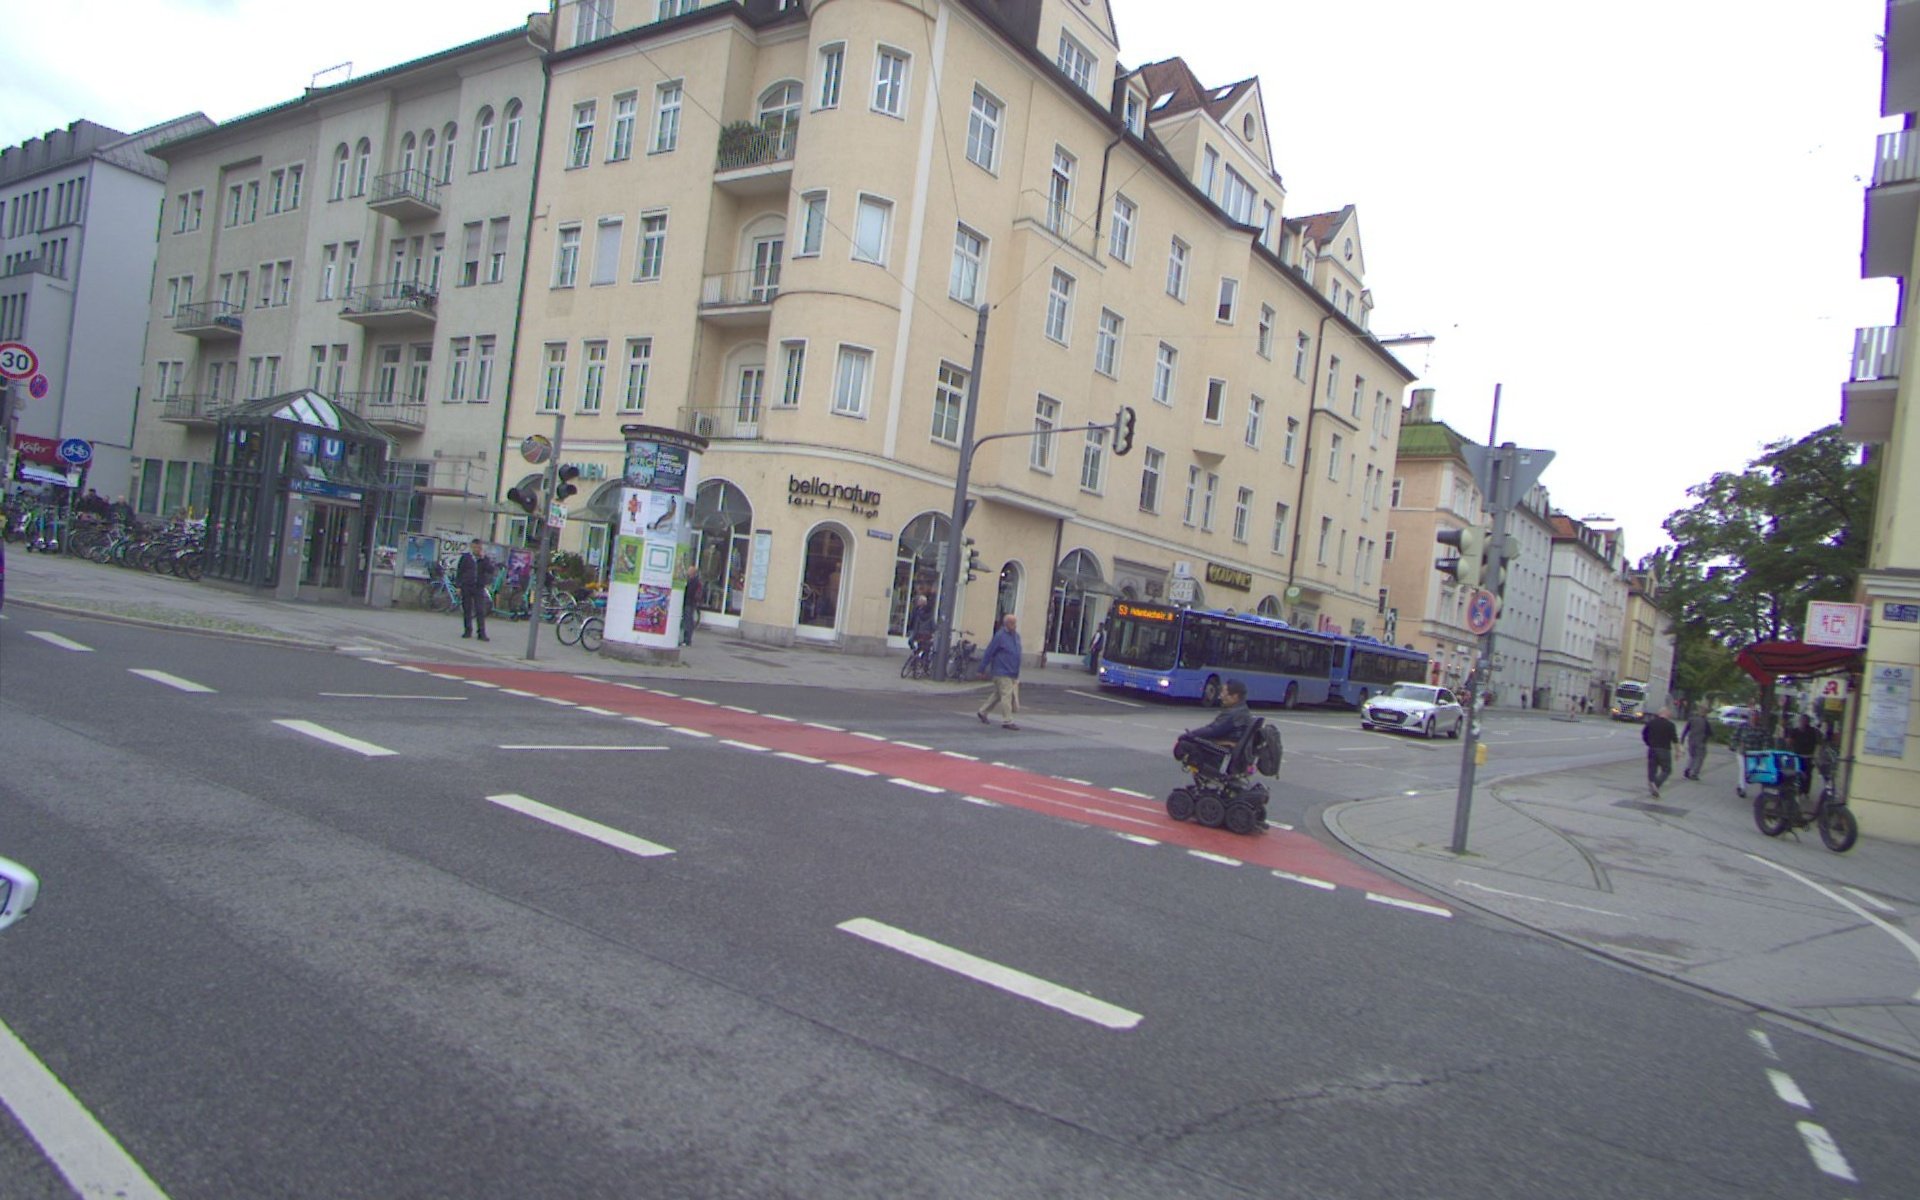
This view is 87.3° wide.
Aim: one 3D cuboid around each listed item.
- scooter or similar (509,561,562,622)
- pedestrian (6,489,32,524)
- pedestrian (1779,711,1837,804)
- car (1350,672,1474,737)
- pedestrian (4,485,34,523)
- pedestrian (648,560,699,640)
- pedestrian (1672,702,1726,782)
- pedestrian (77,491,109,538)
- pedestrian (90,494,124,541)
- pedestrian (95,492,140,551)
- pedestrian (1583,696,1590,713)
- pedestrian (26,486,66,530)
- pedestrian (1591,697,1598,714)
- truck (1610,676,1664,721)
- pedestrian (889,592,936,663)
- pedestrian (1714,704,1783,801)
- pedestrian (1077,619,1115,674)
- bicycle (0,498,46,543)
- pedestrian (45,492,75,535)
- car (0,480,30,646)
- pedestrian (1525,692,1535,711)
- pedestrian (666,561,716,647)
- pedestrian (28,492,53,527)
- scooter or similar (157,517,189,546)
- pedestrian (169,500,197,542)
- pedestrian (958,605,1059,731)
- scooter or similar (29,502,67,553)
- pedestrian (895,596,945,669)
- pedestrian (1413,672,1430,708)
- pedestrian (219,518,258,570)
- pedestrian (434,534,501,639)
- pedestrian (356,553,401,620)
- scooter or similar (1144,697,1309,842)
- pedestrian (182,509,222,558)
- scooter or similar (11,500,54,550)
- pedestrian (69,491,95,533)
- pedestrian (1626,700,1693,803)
[{"bbox_3d":[-9.663,-0.194,22.894,1.133,1.242,0.288,7,1,23],"label":"scooter or similar"},{"bbox_3d":[-40.932,-4.071,43.766,0.570,1.419,0.599,7,0,32],"label":"pedestrian"},{"bbox_3d":[16.780,3.095,19.899,0.694,1.704,0.849,7,0,42],"label":"pedestrian"},{"bbox_3d":[12.671,2.945,28.094,1.869,1.439,3.980,7,-1,43],"label":"car"},{"bbox_3d":[-44.352,-4.525,47.403,0.729,1.621,0.733,7,0,32],"label":"pedestrian"},{"bbox_3d":[-6.617,0.004,23.248,0.720,1.727,0.645,9,3,2],"label":"pedestrian"},{"bbox_3d":[16.688,3.195,22.709,0.757,1.663,0.757,7,0,42],"label":"pedestrian"},{"bbox_3d":[-32.813,-3.226,38.077,0.594,1.690,0.682,7,1,-23],"label":"pedestrian"},{"bbox_3d":[-34.215,-3.324,40.347,0.746,1.750,0.743,8,2,32],"label":"pedestrian"},{"bbox_3d":[-27.166,-2.515,32.437,0.746,1.750,0.813,8,2,32],"label":"pedestrian"},{"bbox_3d":[60.837,10.140,97.690,0.404,1.529,0.448,7,1,39],"label":"pedestrian"},{"bbox_3d":[-34.773,-3.495,38.277,0.801,1.541,0.795,7,1,-25],"label":"pedestrian"},{"bbox_3d":[61.397,10.209,97.348,0.404,1.529,0.448,7,1,39],"label":"pedestrian"},{"bbox_3d":[71.028,10.477,105.262,2.869,3.961,18.832,7,-1,39],"label":"truck"},{"bbox_3d":[-1.252,0.724,26.422,0.736,1.727,0.679,11,3,41],"label":"pedestrian"},{"bbox_3d":[15.255,2.929,19.462,0.827,1.704,1.034,7,0,42],"label":"pedestrian"},{"bbox_3d":[4.542,1.551,33.534,0.736,1.707,0.723,11,3,41],"label":"pedestrian"},{"bbox_3d":[-26.074,-2.185,28.013,0.365,1.155,1.712,7,0,-26],"label":"bicycle"},{"bbox_3d":[-33.702,-3.240,37.677,0.574,1.523,0.612,7,0,-27],"label":"pedestrian"},{"bbox_3d":[-11.204,-0.592,10.155,3.497,1.609,1.705,7,0,32],"label":"car"},{"bbox_3d":[42.570,7.560,75.127,0.404,1.374,0.448,7,1,39],"label":"pedestrian"},{"bbox_3d":[-5.909,0.089,22.125,0.645,1.774,0.630,7,3,-36],"label":"pedestrian"},{"bbox_3d":[-40.550,-3.989,44.354,0.570,1.419,0.575,7,0,32],"label":"pedestrian"},{"bbox_3d":[-29.711,-2.601,37.975,1.106,0.955,0.535,7,1,30],"label":"scooter or similar"},{"bbox_3d":[-32.849,-3.340,42.514,0.553,1.664,0.641,7,1,32],"label":"pedestrian"},{"bbox_3d":[0.763,1.048,15.658,1.048,1.777,0.934,7,0,33],"label":"pedestrian"},{"bbox_3d":[-22.798,-1.803,25.150,0.298,1.190,1.268,7,0,-28],"label":"scooter or similar"},{"bbox_3d":[-1.005,0.826,25.345,0.736,1.707,0.679,11,3,41],"label":"pedestrian"},{"bbox_3d":[27.522,5.367,59.963,0.606,2.038,0.609,7,0,35],"label":"pedestrian"},{"bbox_3d":[-25.368,-1.970,35.375,0.745,1.672,0.751,7,2,30],"label":"pedestrian"},{"bbox_3d":[-8.693,-0.242,17.795,0.825,1.711,0.815,7,0,-21],"label":"pedestrian"},{"bbox_3d":[-15.647,-0.351,27.060,0.710,1.691,0.657,8,2,33],"label":"pedestrian"},{"bbox_3d":[2.508,1.549,9.456,1.235,1.088,0.777,7,0,30],"label":"scooter or similar"},{"bbox_3d":[-25.874,-2.280,34.346,0.745,1.537,0.778,7,2,30],"label":"pedestrian"},{"bbox_3d":[-23.195,-1.861,25.176,0.360,1.190,1.337,7,0,-28],"label":"scooter or similar"},{"bbox_3d":[-33.675,-3.373,38.571,0.501,1.502,0.462,7,1,-23],"label":"pedestrian"},{"bbox_3d":[12.004,2.573,17.277,0.756,1.605,0.758,7,0,36],"label":"pedestrian"}]
